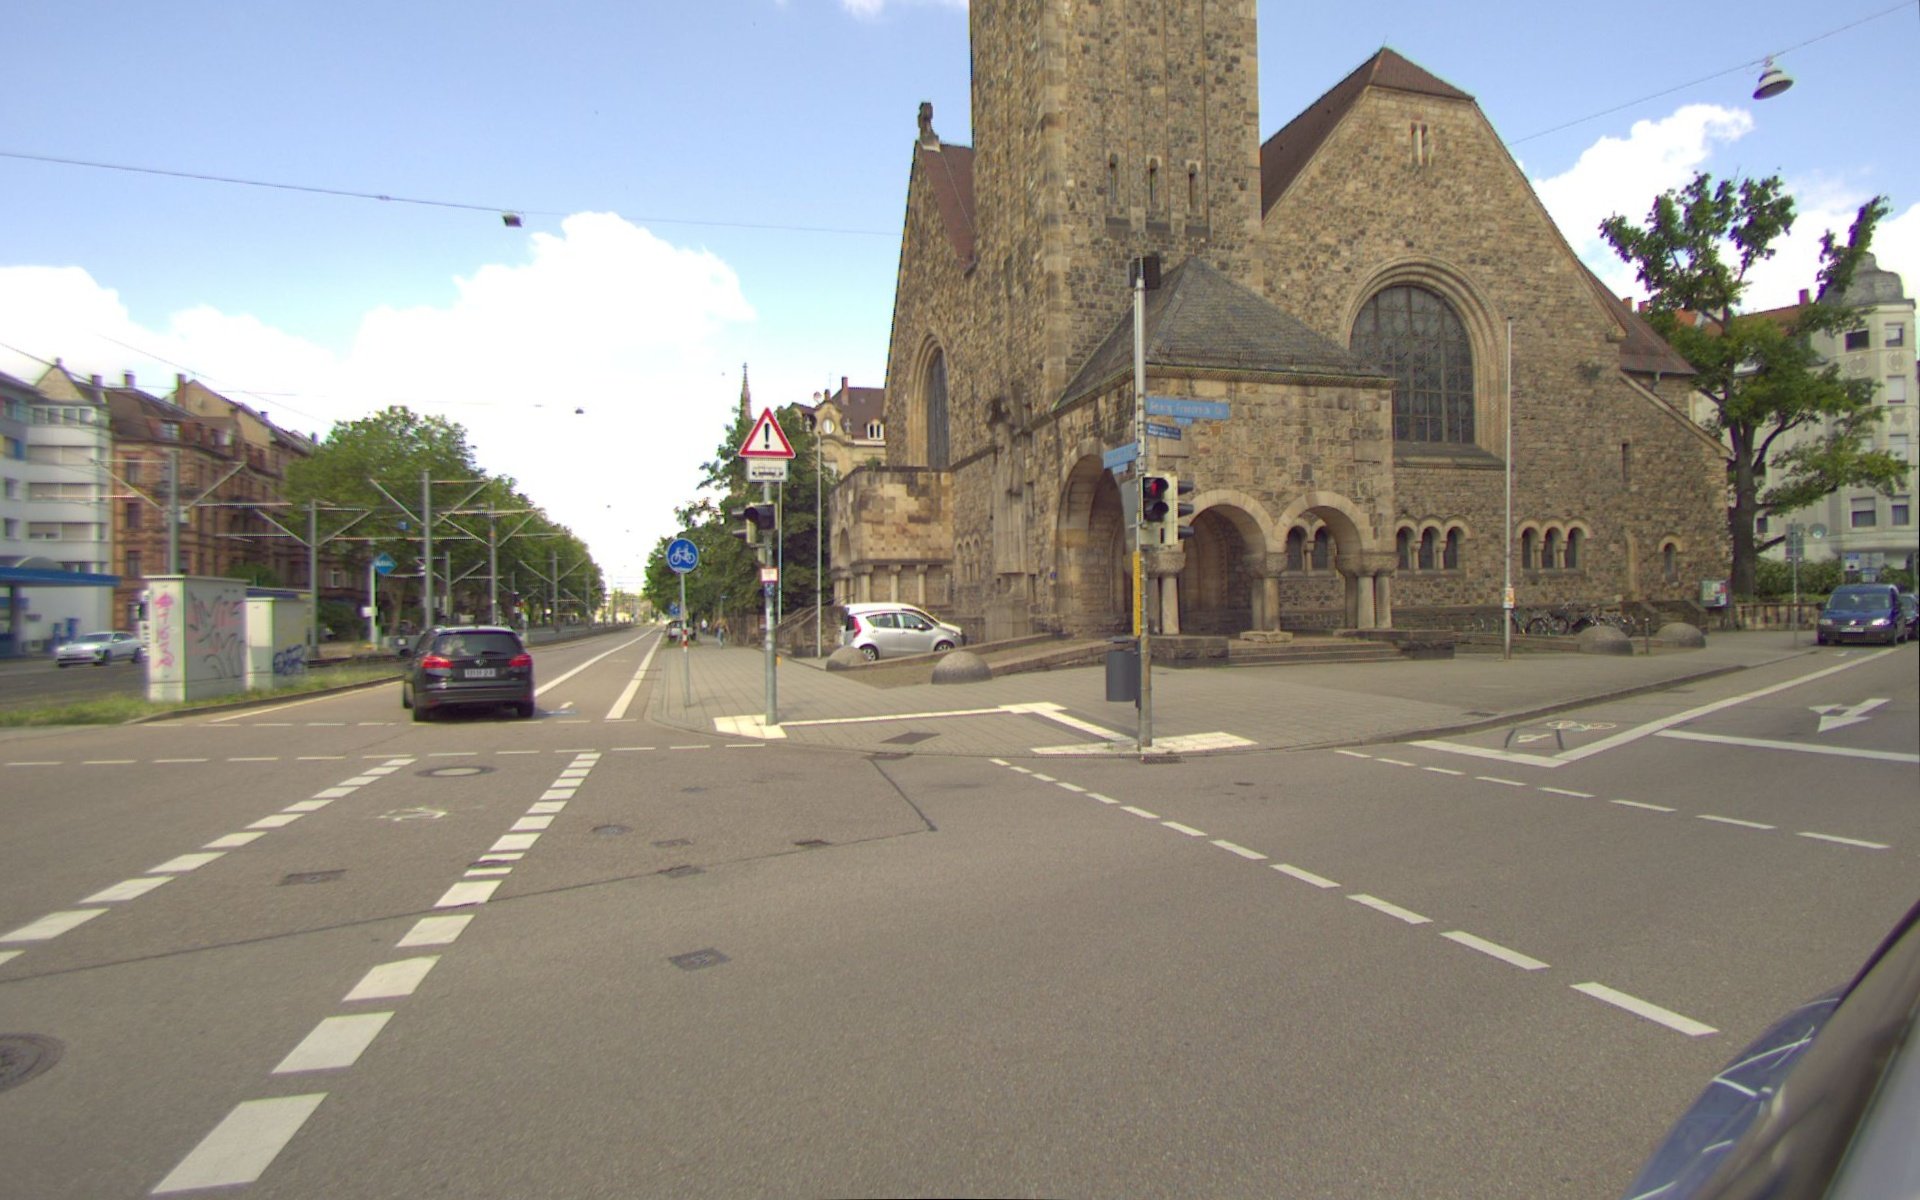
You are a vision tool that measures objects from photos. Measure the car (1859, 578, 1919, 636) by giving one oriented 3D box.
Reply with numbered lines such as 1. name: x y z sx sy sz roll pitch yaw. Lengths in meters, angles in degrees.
1. car: 31.233 0.218 33.431 3.929 1.814 1.681 -1 -1 -40

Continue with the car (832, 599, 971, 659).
1. car: -1.962 0.957 33.491 4.214 1.878 2.003 0 -3 -16

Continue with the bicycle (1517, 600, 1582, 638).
1. bicycle: 19.429 0.619 33.419 0.574 1.126 1.944 -1 2 -19

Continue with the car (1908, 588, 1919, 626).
1. car: 39.468 0.246 40.541 3.730 1.465 1.682 -1 -1 -40

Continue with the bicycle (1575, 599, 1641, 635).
1. bicycle: 21.826 0.553 34.122 0.574 1.126 1.944 -1 2 -19

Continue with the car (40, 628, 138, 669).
1. car: -40.290 2.209 46.945 1.816 1.727 4.142 -1 -1 -15

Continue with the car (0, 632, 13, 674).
1. car: -37.292 2.036 37.504 1.651 1.583 3.759 -1 -1 -15

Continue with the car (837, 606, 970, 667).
1. car: -1.692 1.078 29.951 3.561 1.701 1.822 1 -3 -19

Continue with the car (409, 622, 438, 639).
1. car: -54.702 3.101 103.269 1.766 1.651 4.007 -1 0 -15

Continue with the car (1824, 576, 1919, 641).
1. car: 27.331 0.245 30.196 4.072 1.814 1.681 -1 -1 -40

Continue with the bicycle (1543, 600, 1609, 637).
1. bicycle: 20.400 0.591 33.583 0.574 1.126 1.944 -1 2 -19

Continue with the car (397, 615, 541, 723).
1. car: -8.330 1.050 16.964 1.749 1.554 4.388 2 -2 -31

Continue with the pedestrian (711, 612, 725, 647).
1. pedestrian: -12.007 1.469 50.269 0.645 1.686 0.847 -1 -1 -14

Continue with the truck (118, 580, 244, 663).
1. truck: -42.325 1.123 55.270 2.857 4.202 6.602 -1 0 -12

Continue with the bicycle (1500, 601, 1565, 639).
1. bicycle: 18.761 0.637 33.204 0.574 1.126 1.944 -1 2 -19

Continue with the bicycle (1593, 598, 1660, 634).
1. bicycle: 22.585 0.532 34.334 0.574 1.126 1.944 -1 2 -19

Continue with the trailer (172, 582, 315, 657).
1. trailer: -43.945 1.151 62.696 2.857 4.129 11.671 -1 0 -12

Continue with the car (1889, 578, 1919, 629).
1. car: 35.922 0.113 37.504 3.929 1.814 1.681 -1 -1 -40

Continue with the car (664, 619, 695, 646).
1. car: -17.090 1.969 61.676 1.752 1.514 3.844 -2 -1 -16

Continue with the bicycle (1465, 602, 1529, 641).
1. bicycle: 17.310 0.676 32.679 0.574 1.126 1.944 -1 2 -19
